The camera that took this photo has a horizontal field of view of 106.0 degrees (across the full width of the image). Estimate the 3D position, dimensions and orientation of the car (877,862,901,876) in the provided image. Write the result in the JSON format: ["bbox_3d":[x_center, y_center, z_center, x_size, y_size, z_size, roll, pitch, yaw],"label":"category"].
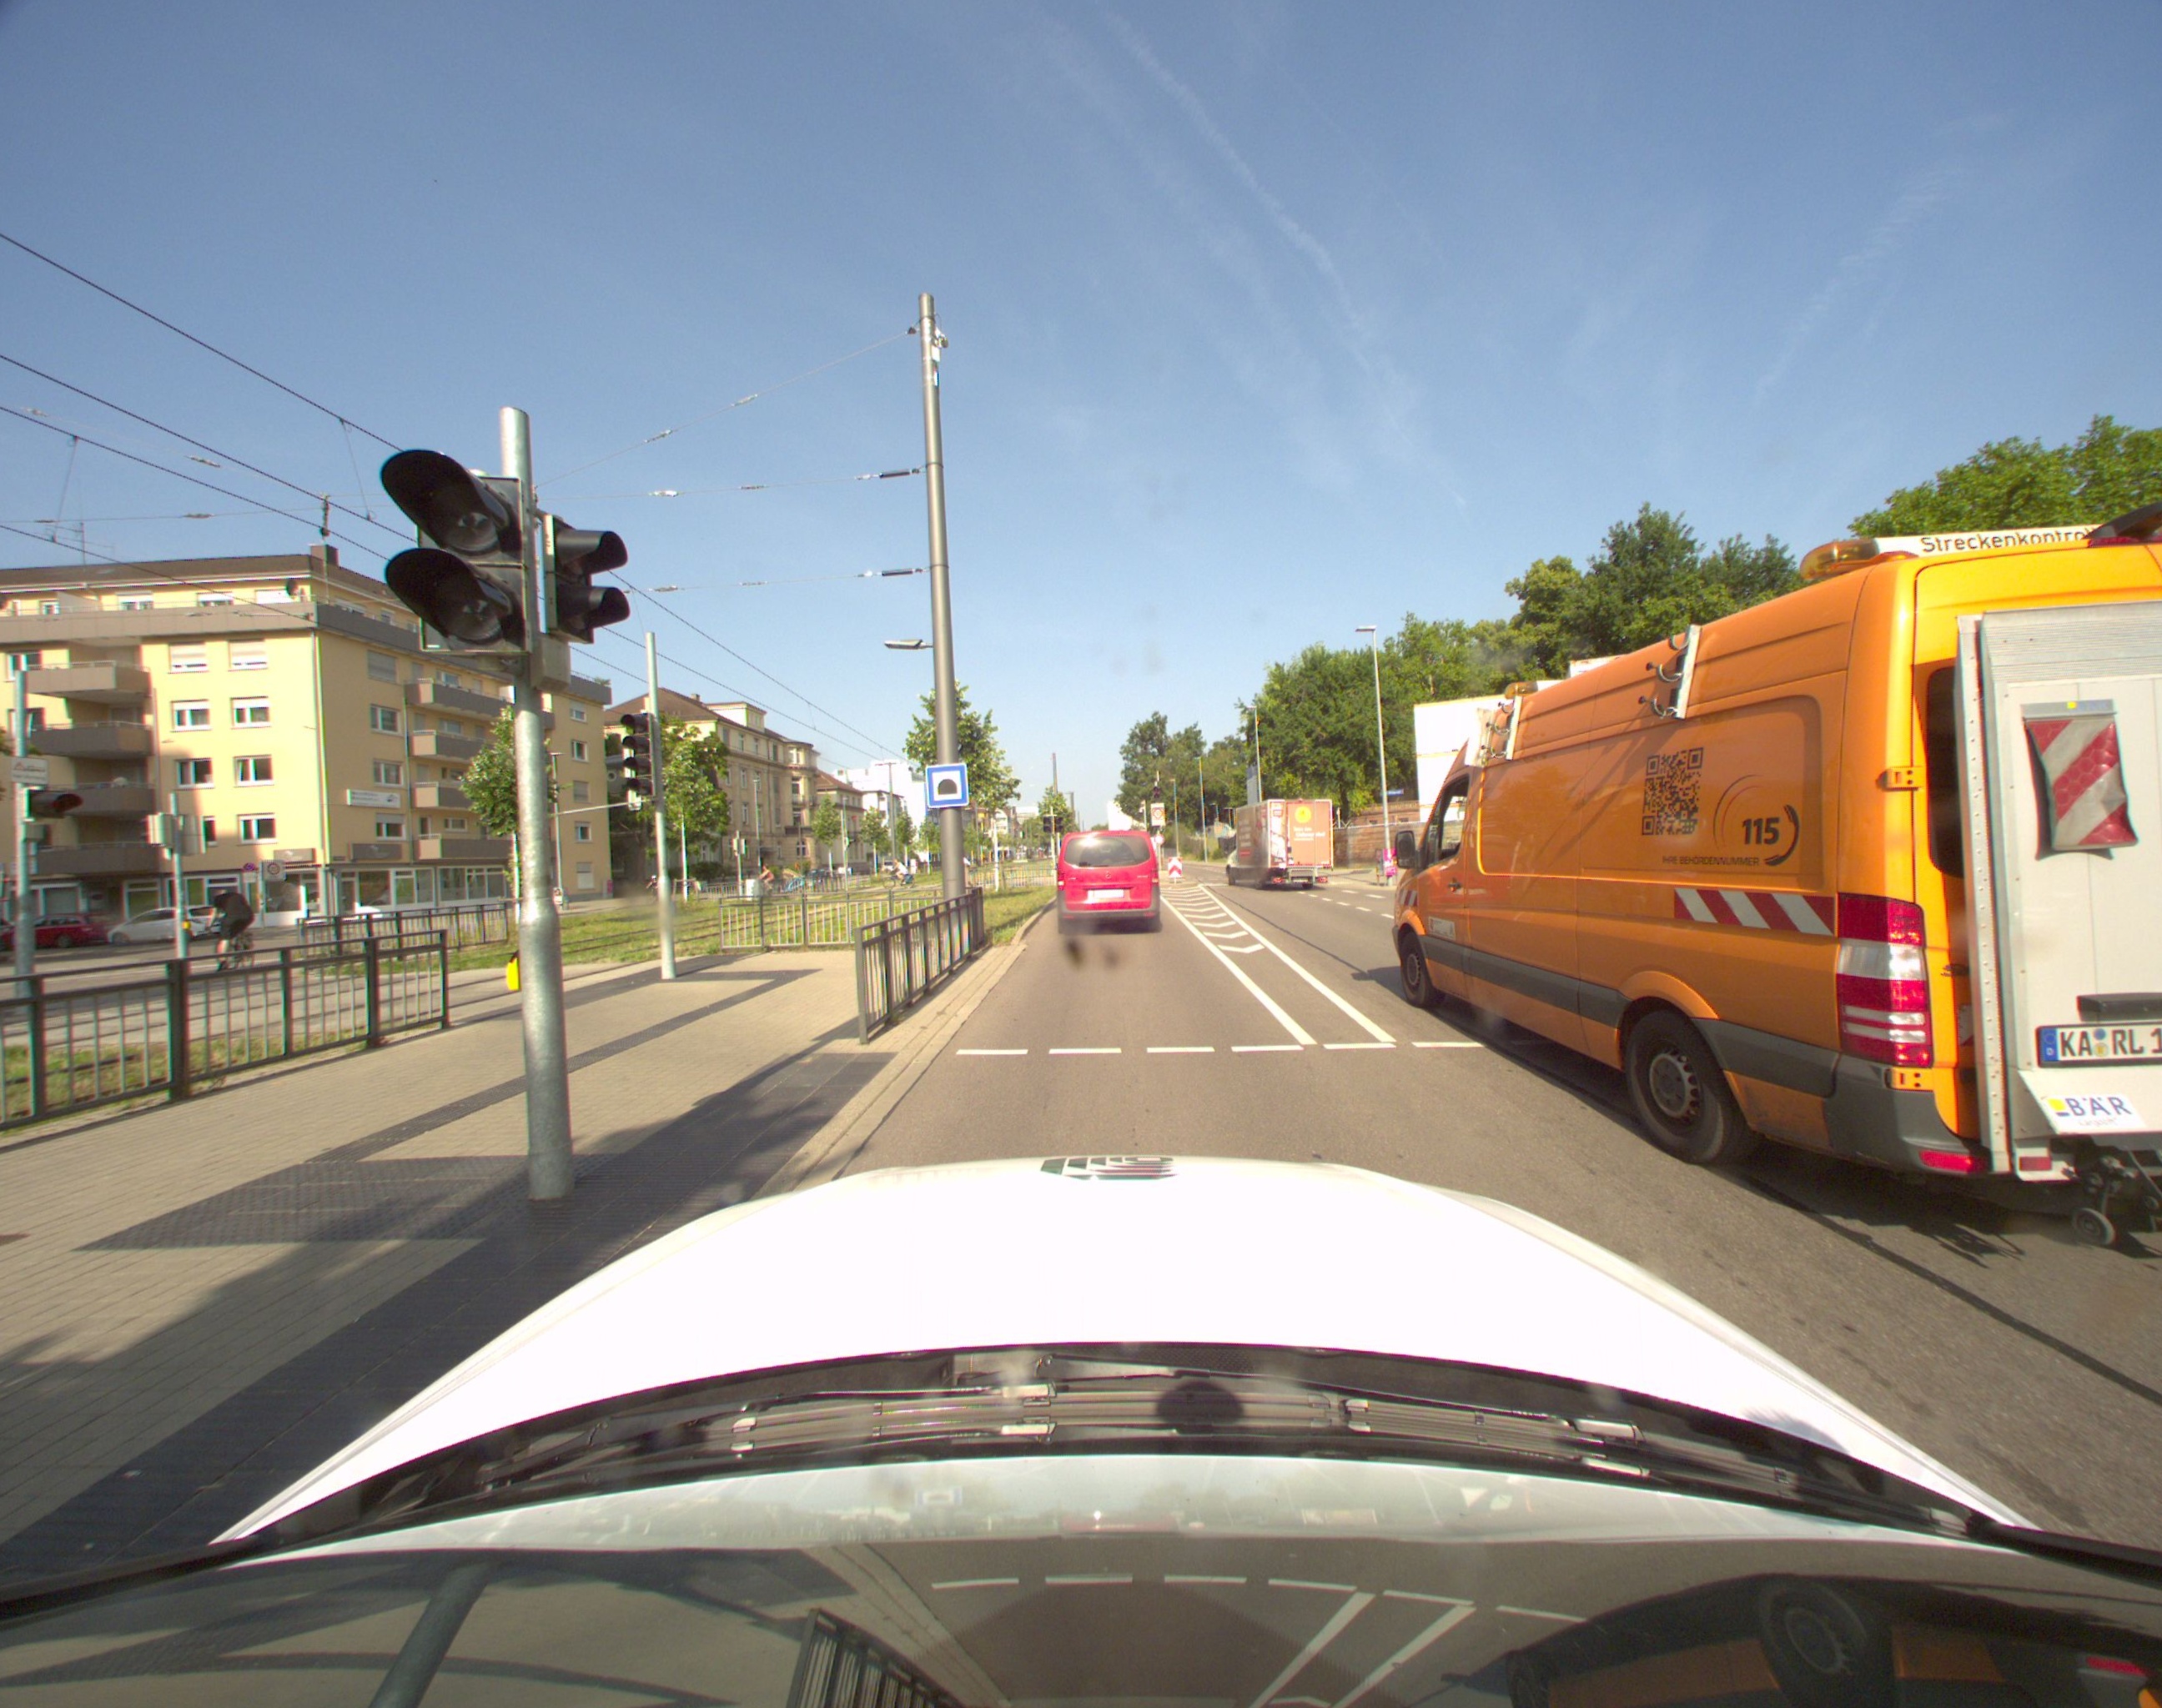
[{"bbox_3d":[-27.939,2.186,118.705,2.242,2.014,5.261,-1,-2,0],"label":"car"}]

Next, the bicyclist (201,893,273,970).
[{"bbox_3d":[-16.612,1.521,16.034,0.962,1.395,0.549,-6,1,22],"label":"bicyclist"}]

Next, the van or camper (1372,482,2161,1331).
[{"bbox_3d":[3.812,0.122,5.372,1.977,2.472,6.068,-1,0,4],"label":"van or camper"}]

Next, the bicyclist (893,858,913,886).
[{"bbox_3d":[-9.894,0.984,45.187,0.984,1.500,0.618,-3,0,-14],"label":"bicyclist"}]

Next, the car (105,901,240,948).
[{"bbox_3d":[-38.849,2.982,34.886,3.614,1.583,1.708,-3,2,-2],"label":"car"}]

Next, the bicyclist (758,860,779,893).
[{"bbox_3d":[-16.189,1.179,42.165,0.894,1.628,0.885,-3,0,-23],"label":"bicyclist"}]

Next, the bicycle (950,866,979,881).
[{"bbox_3d":[-6.354,1.051,44.369,0.711,0.798,1.613,-1,-1,29],"label":"bicycle"}]

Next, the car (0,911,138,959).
[{"bbox_3d":[-43.387,3.453,34.866,3.777,1.688,1.773,-3,0,-2],"label":"car"}]

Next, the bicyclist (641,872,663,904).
[{"bbox_3d":[-25.305,1.980,48.045,0.667,1.805,1.082,-3,0,-3],"label":"bicyclist"}]

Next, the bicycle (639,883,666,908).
[{"bbox_3d":[-25.288,2.421,48.061,0.693,1.346,1.755,-3,0,-3],"label":"bicycle"}]

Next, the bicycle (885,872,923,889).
[{"bbox_3d":[-9.804,1.474,45.205,1.999,0.793,0.626,-3,0,-14],"label":"bicycle"}]

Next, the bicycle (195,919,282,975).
[{"bbox_3d":[-16.604,1.840,16.050,1.593,0.935,0.560,-6,1,22],"label":"bicycle"}]

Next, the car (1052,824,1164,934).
[{"bbox_3d":[0.588,0.430,16.016,1.893,1.859,4.004,-1,0,3],"label":"car"}]

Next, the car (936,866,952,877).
[{"bbox_3d":[-24.015,3.119,142.979,1.910,1.813,4.001,-1,-1,2],"label":"car"}]

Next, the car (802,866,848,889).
[{"bbox_3d":[-19.169,1.756,61.106,1.987,1.513,4.397,-3,0,0],"label":"car"}]

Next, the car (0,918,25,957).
[{"bbox_3d":[-48.339,3.737,34.770,3.930,1.604,1.814,-3,0,-3],"label":"car"}]

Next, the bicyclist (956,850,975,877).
[{"bbox_3d":[-6.303,0.505,44.454,0.679,1.440,0.811,-1,-1,30],"label":"bicyclist"}]

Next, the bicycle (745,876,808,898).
[{"bbox_3d":[-15.807,1.688,42.297,3.002,0.965,0.893,-3,0,-25],"label":"bicycle"}]

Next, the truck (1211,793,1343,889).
[{"bbox_3d":[6.976,-0.389,30.273,2.497,3.061,7.808,-1,-1,-4],"label":"truck"}]
